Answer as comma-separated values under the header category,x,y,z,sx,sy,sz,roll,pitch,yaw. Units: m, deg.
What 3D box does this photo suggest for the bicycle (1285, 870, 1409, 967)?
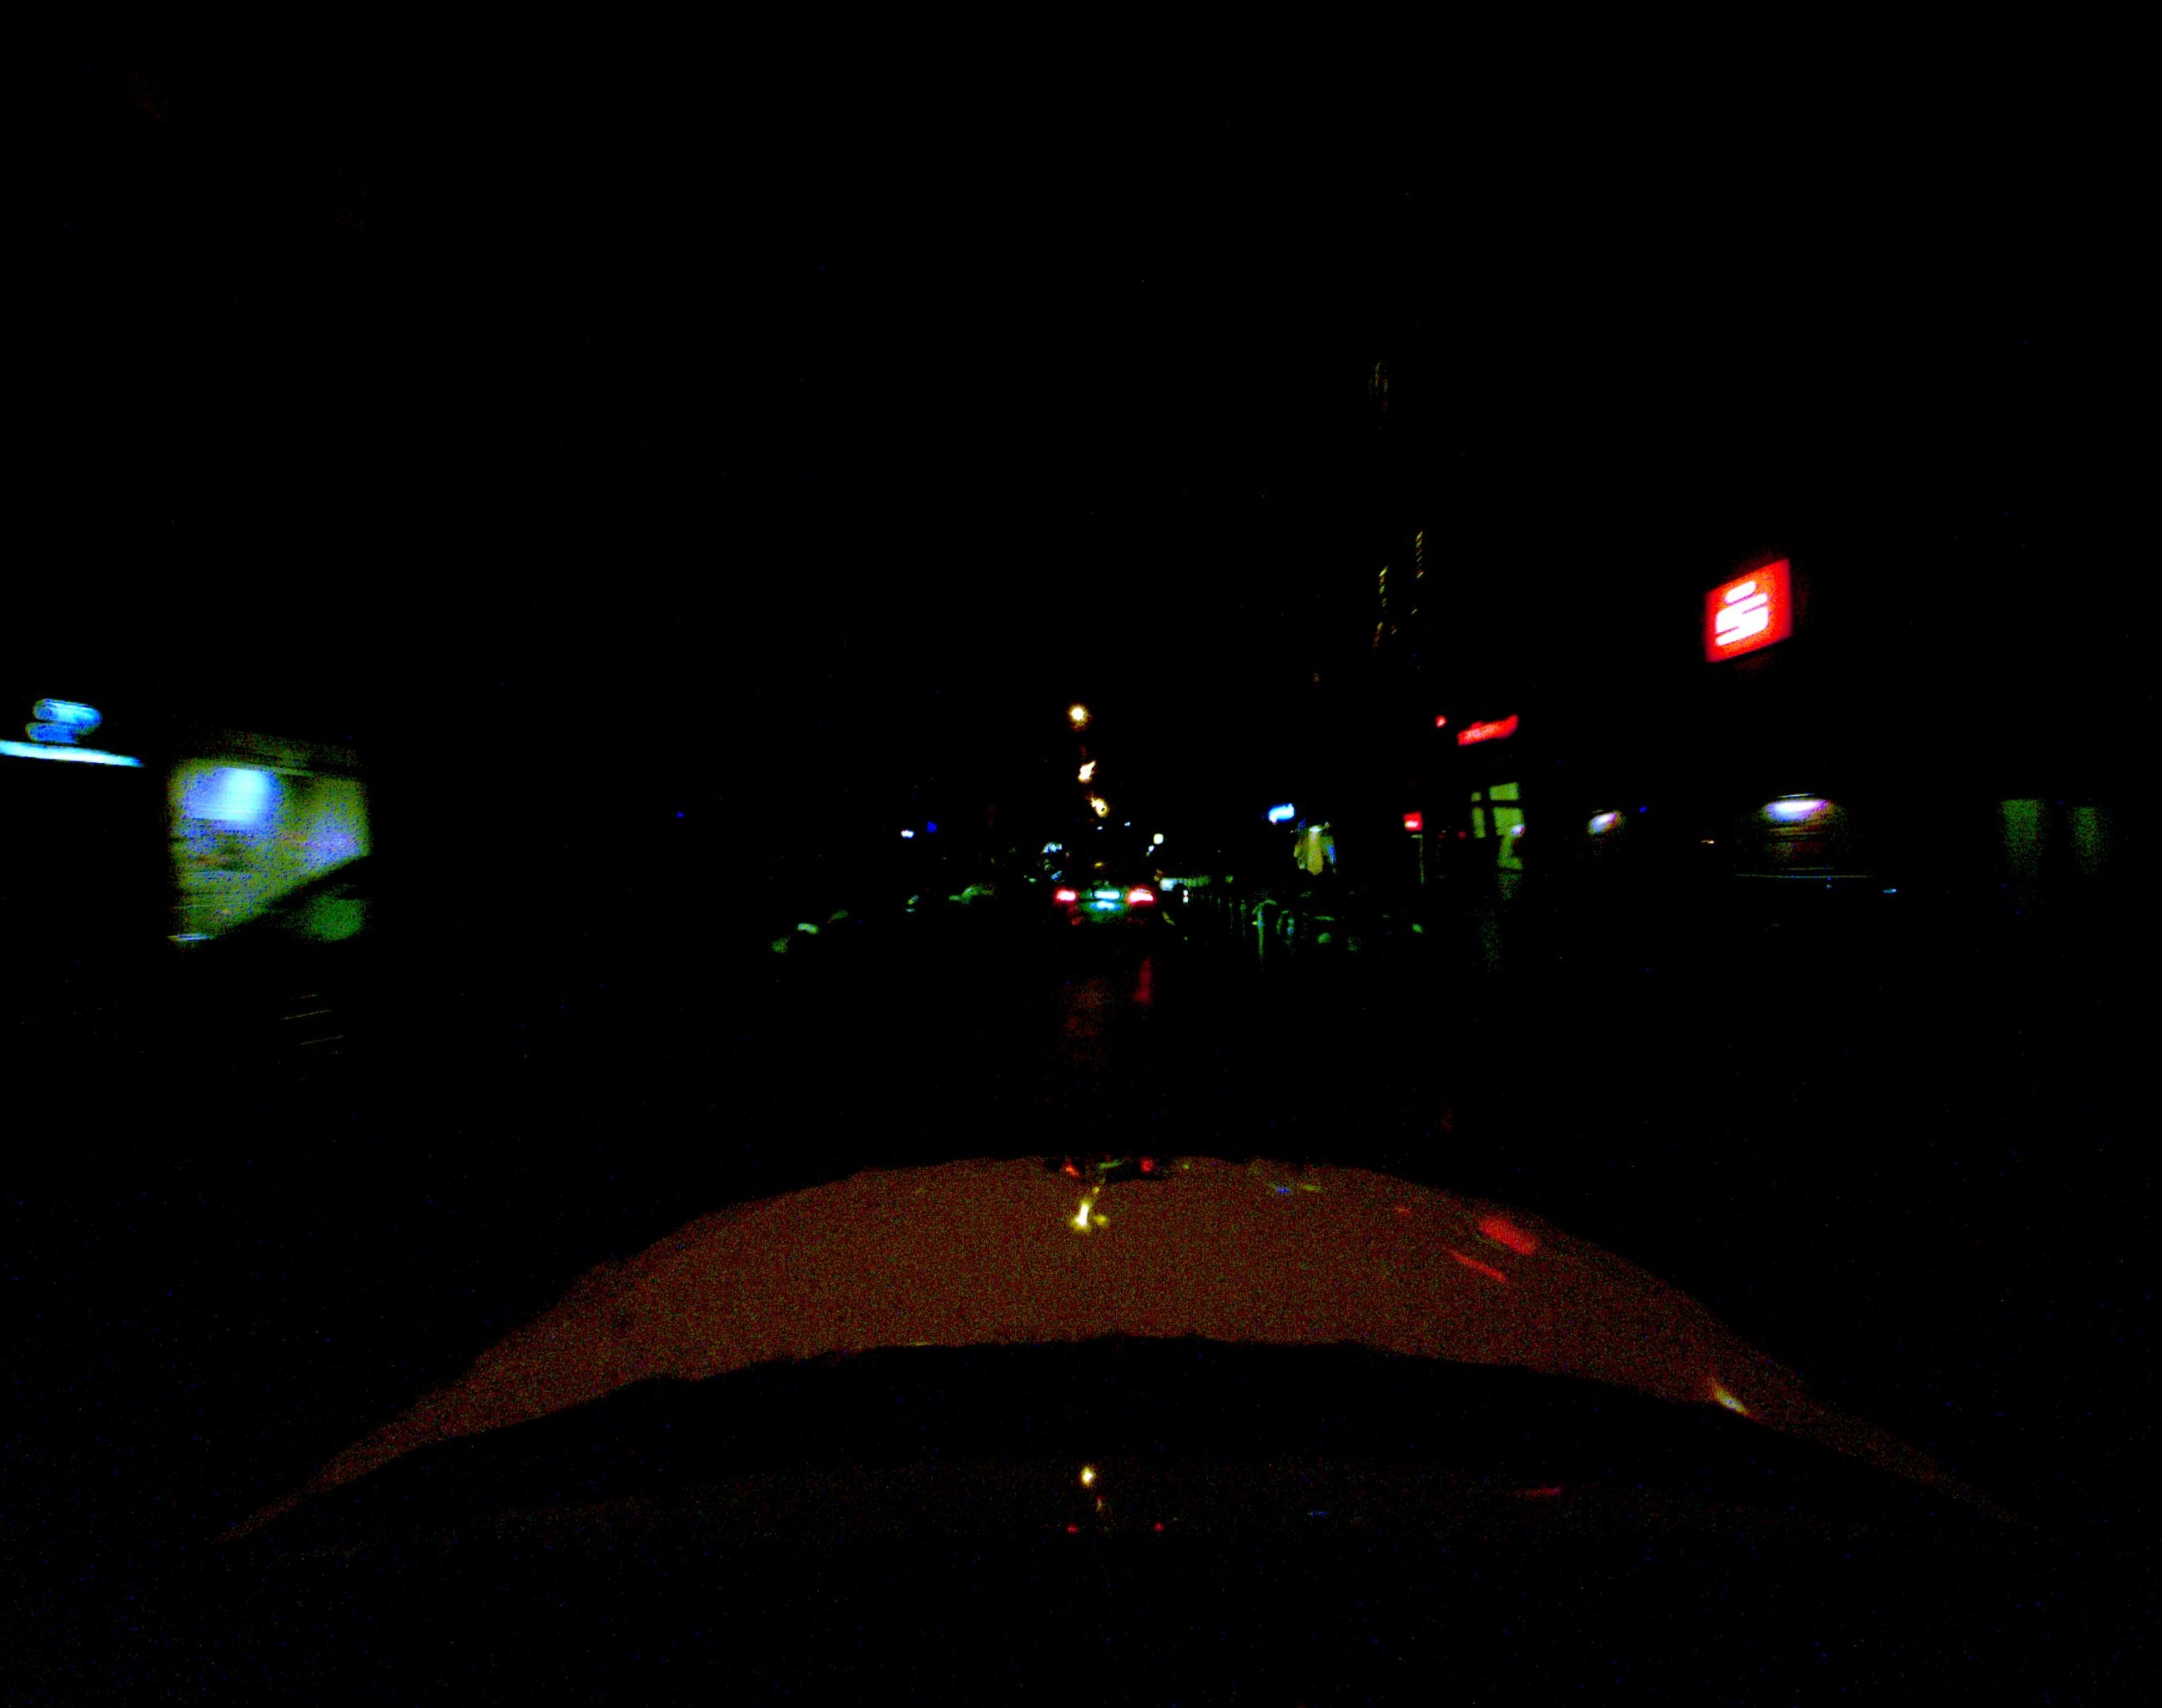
category,x,y,z,sx,sy,sz,roll,pitch,yaw
bicycle,3.819,0.924,11.743,1.522,1.202,0.366,-7,-2,4

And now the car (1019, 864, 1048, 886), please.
category,x,y,z,sx,sy,sz,roll,pitch,yaw
car,-3.268,1.459,56.931,1.666,1.491,3.723,0,-1,2

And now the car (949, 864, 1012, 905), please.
category,x,y,z,sx,sy,sz,roll,pitch,yaw
car,-4.099,1.206,34.053,1.760,1.483,4.775,2,0,3

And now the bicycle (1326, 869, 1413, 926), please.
category,x,y,z,sx,sy,sz,roll,pitch,yaw
bicycle,5.774,0.876,16.332,1.525,0.952,0.366,-7,-2,-4

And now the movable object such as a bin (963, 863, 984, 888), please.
category,x,y,z,sx,sy,sz,roll,pitch,yaw
movable object such as a bin,-6.651,1.323,50.552,1.098,1.454,1.378,-2,-1,0

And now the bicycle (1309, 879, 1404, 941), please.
category,x,y,z,sx,sy,sz,roll,pitch,yaw
bicycle,5.072,1.030,15.054,1.521,0.952,0.367,-7,-2,5

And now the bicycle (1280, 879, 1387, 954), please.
category,x,y,z,sx,sy,sz,roll,pitch,yaw
bicycle,4.114,1.016,13.319,1.524,1.023,0.366,-7,-2,0

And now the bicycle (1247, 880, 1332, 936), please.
category,x,y,z,sx,sy,sz,roll,pitch,yaw
bicycle,4.210,1.082,16.476,1.525,0.952,0.366,-7,-2,-3

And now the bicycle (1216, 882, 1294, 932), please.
category,x,y,z,sx,sy,sz,roll,pitch,yaw
bicycle,4.003,1.230,18.806,1.660,0.952,0.367,-7,-2,8

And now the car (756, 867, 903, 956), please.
category,x,y,z,sx,sy,sz,roll,pitch,yaw
car,-4.732,1.017,15.850,1.563,1.460,3.722,-1,0,2

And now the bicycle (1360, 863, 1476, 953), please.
category,x,y,z,sx,sy,sz,roll,pitch,yaw
bicycle,5.225,0.831,12.650,1.524,1.202,0.366,-7,-2,0

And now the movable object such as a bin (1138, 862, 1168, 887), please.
category,x,y,z,sx,sy,sz,roll,pitch,yaw
movable object such as a bin,4.359,1.244,49.228,1.347,1.429,1.188,-1,-1,-35

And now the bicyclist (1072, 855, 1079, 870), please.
category,x,y,z,sx,sy,sz,roll,pitch,yaw
bicyclist,-0.574,0.902,85.671,0.716,1.556,0.895,-2,-1,1

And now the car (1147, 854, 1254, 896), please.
category,x,y,z,sx,sy,sz,roll,pitch,yaw
car,5.325,0.936,36.773,4.497,1.530,1.780,-4,-1,1

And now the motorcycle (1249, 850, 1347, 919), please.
category,x,y,z,sx,sy,sz,roll,pitch,yaw
motorcycle,5.577,0.784,21.029,2.165,1.547,0.867,-5,-1,1

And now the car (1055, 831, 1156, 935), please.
category,x,y,z,sx,sy,sz,roll,pitch,yaw
car,0.586,0.586,18.597,1.988,2.049,4.696,-1,0,2

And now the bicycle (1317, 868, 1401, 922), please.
category,x,y,z,sx,sy,sz,roll,pitch,yaw
bicycle,5.788,0.852,16.981,1.525,0.952,0.366,-7,-2,-3

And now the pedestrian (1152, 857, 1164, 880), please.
category,x,y,z,sx,sy,sz,roll,pitch,yaw
pedestrian,6.344,1.179,66.847,0.858,1.788,1.084,-3,0,5

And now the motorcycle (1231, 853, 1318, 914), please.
category,x,y,z,sx,sy,sz,roll,pitch,yaw
motorcycle,5.729,0.866,24.237,2.280,1.588,0.867,-5,-1,1

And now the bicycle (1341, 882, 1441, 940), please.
category,x,y,z,sx,sy,sz,roll,pitch,yaw
bicycle,5.370,0.987,14.149,1.521,0.834,0.326,-7,-2,5

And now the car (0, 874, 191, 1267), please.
category,x,y,z,sx,sy,sz,roll,pitch,yaw
car,-5.287,0.888,2.139,1.720,1.575,3.722,-1,0,2

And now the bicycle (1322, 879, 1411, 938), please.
category,x,y,z,sx,sy,sz,roll,pitch,yaw
bicycle,5.554,1.053,15.862,1.525,0.952,0.366,-7,-2,-3

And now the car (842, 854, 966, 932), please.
category,x,y,z,sx,sy,sz,roll,pitch,yaw
car,-4.577,0.935,21.969,1.988,1.829,5.209,-1,0,2

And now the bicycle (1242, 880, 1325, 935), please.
category,x,y,z,sx,sy,sz,roll,pitch,yaw
bicycle,4.193,1.098,16.906,1.525,0.952,0.366,-7,-2,-3

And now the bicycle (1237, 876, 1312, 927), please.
category,x,y,z,sx,sy,sz,roll,pitch,yaw
bicycle,4.318,1.067,18.260,1.520,0.952,0.367,-7,-2,8

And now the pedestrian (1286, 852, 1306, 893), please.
category,x,y,z,sx,sy,sz,roll,pitch,yaw
pedestrian,9.667,0.827,36.657,0.699,1.788,0.625,-3,0,5

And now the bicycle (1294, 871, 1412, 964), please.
category,x,y,z,sx,sy,sz,roll,pitch,yaw
bicycle,4.058,0.936,12.189,1.524,1.202,0.366,-7,-2,0

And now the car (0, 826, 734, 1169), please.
category,x,y,z,sx,sy,sz,roll,pitch,yaw
car,-4.979,0.795,6.825,1.895,1.829,4.831,-1,0,2

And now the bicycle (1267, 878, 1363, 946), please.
category,x,y,z,sx,sy,sz,roll,pitch,yaw
bicycle,4.187,1.039,14.624,1.521,1.023,0.367,-7,-2,5

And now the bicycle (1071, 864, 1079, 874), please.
category,x,y,z,sx,sy,sz,roll,pitch,yaw
bicycle,-0.595,1.566,85.668,0.724,1.073,2.349,-2,-1,2

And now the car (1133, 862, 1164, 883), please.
category,x,y,z,sx,sy,sz,roll,pitch,yaw
car,4.892,1.307,59.759,1.986,1.464,4.418,-1,-1,2
